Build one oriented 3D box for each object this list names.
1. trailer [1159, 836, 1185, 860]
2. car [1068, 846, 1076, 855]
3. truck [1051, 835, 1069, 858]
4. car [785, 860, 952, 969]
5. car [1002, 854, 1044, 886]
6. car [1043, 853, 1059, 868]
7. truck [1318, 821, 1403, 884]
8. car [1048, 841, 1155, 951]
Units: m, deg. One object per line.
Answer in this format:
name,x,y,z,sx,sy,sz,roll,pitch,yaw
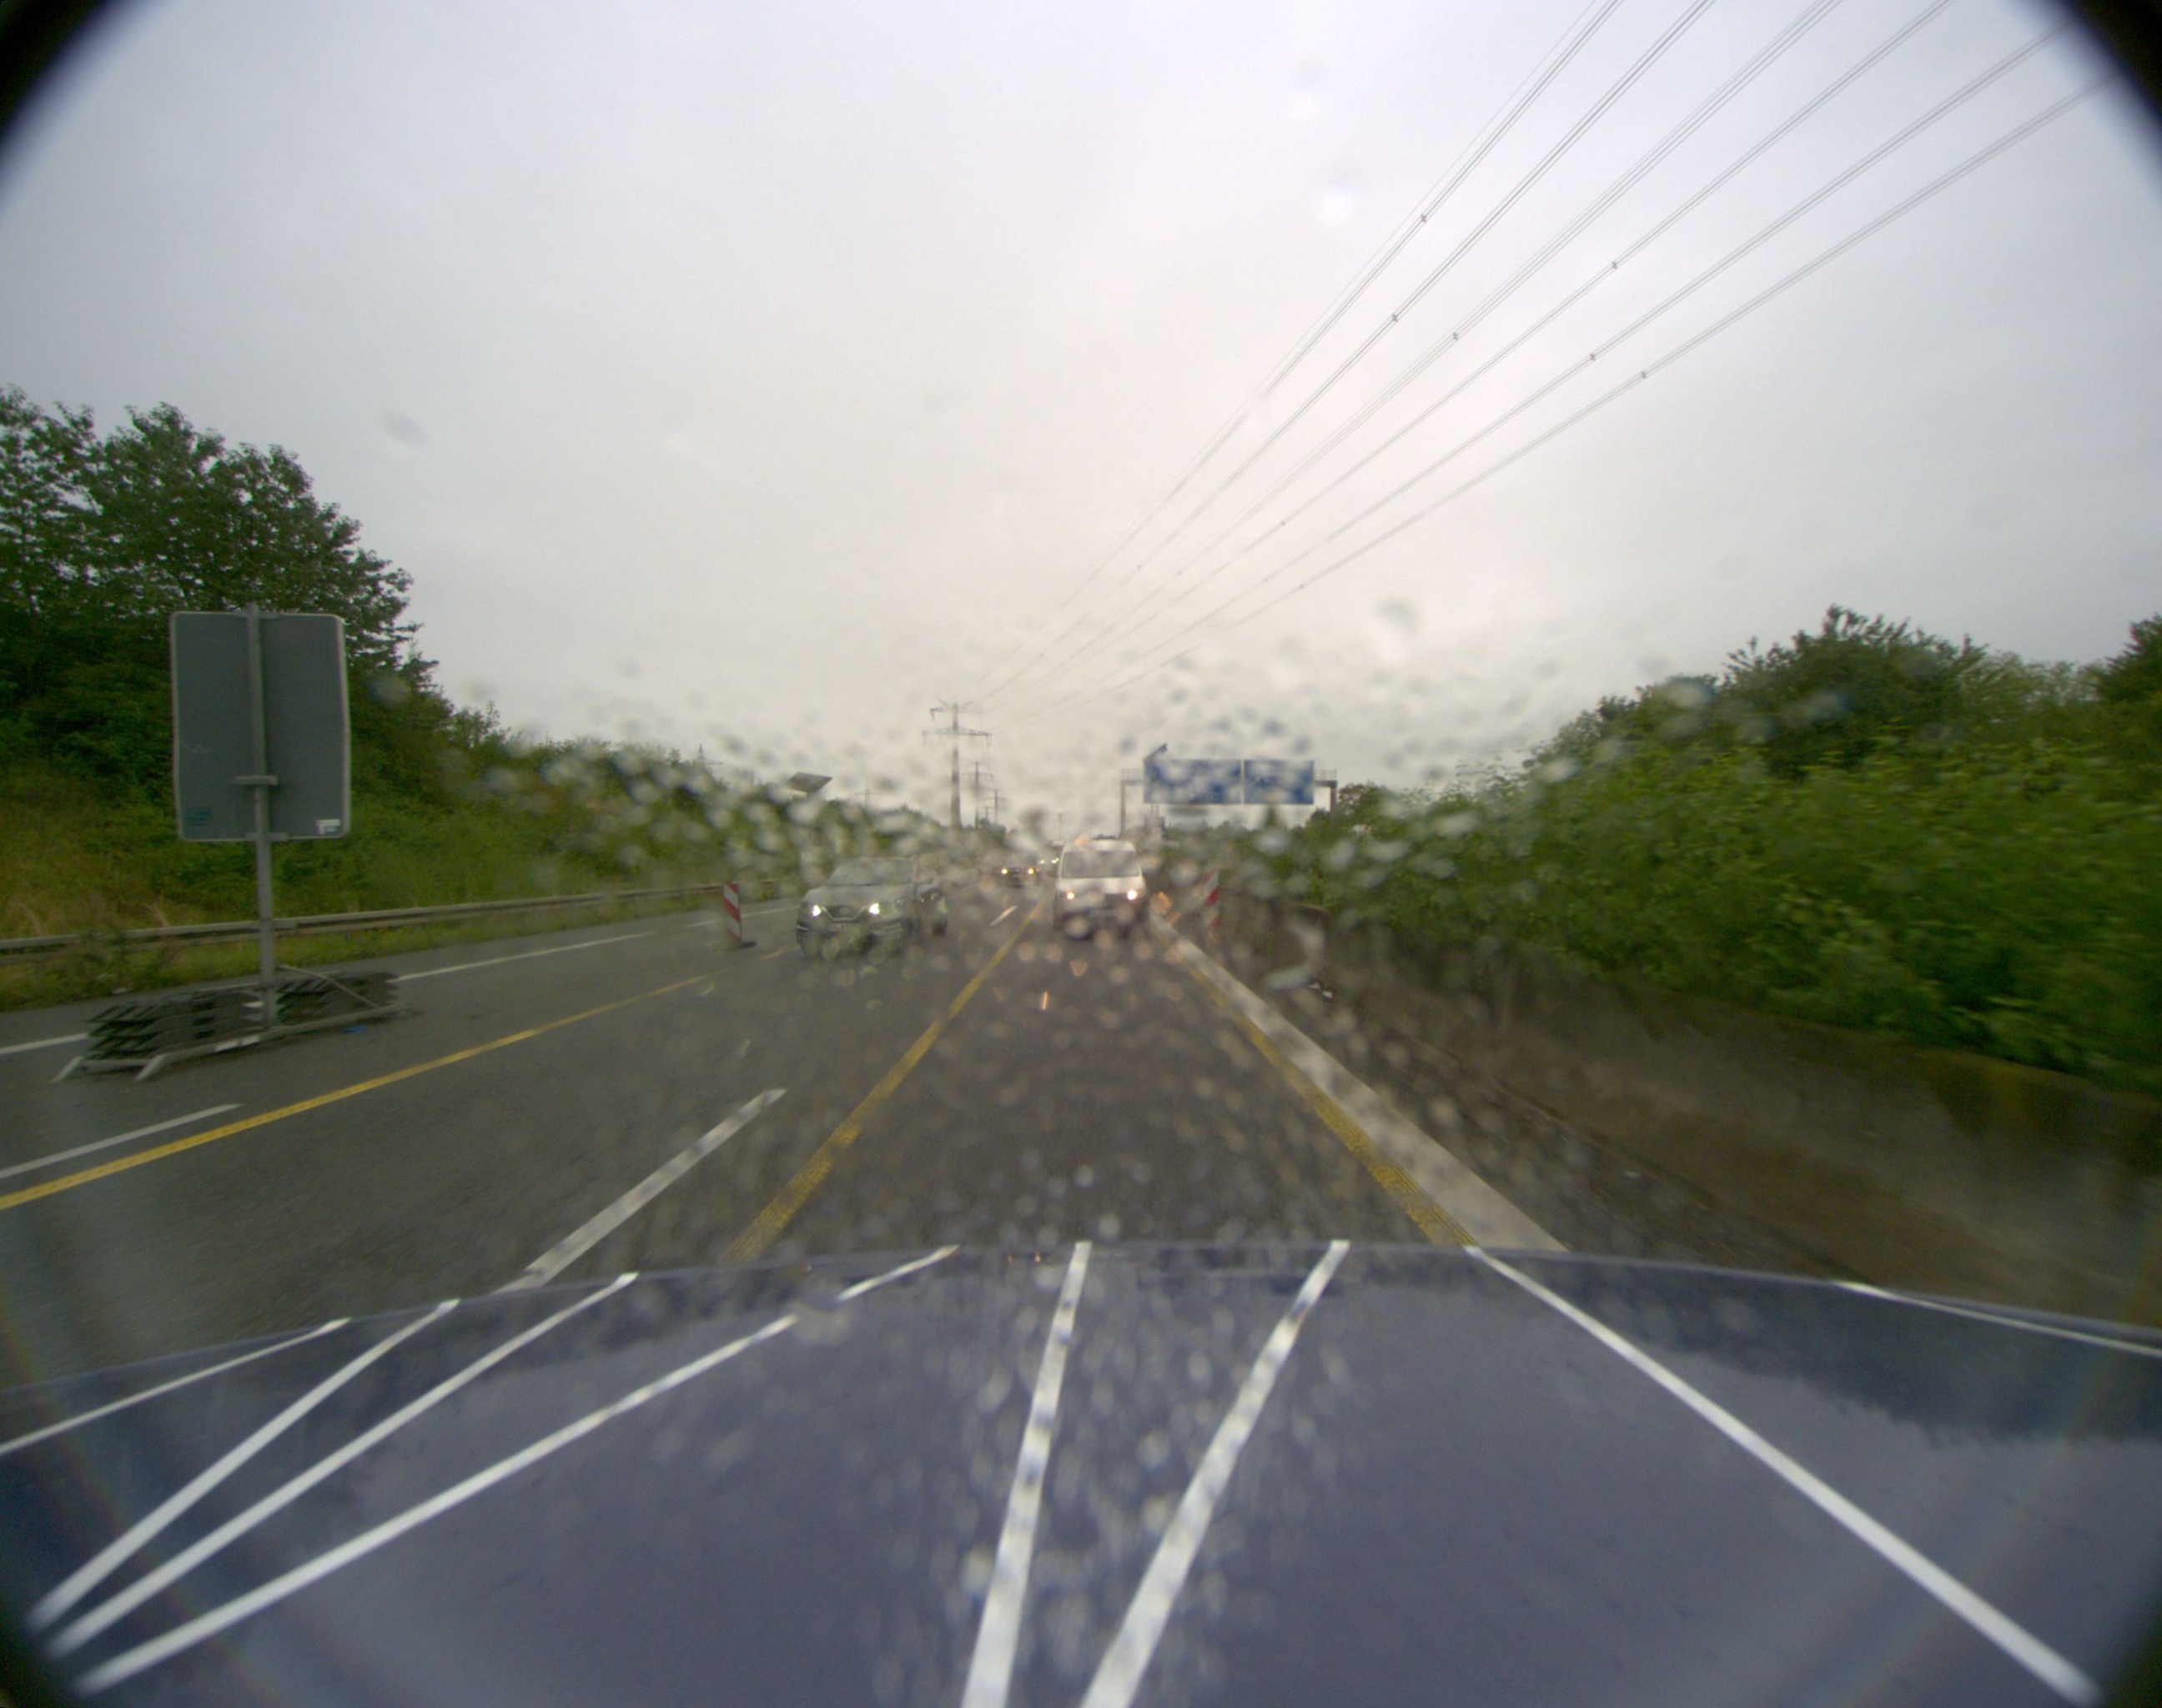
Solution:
trailer,16.070,-1.130,135.668,2.793,4.000,13.249,2,0,0
car,-2.070,-0.757,176.805,1.784,2.002,4.000,0,1,1
truck,-3.648,-1.312,136.319,2.875,4.007,8.308,0,1,1
car,-3.497,0.915,13.330,1.804,1.523,4.149,-1,0,-1
car,-2.824,0.752,37.696,1.804,1.432,4.149,-1,0,-1
car,-3.406,0.724,86.716,1.804,1.598,4.149,-1,0,-1
truck,15.860,-0.111,43.662,2.266,3.209,7.051,2,1,1
car,0.353,0.689,14.922,1.768,1.803,4.345,-1,0,0
